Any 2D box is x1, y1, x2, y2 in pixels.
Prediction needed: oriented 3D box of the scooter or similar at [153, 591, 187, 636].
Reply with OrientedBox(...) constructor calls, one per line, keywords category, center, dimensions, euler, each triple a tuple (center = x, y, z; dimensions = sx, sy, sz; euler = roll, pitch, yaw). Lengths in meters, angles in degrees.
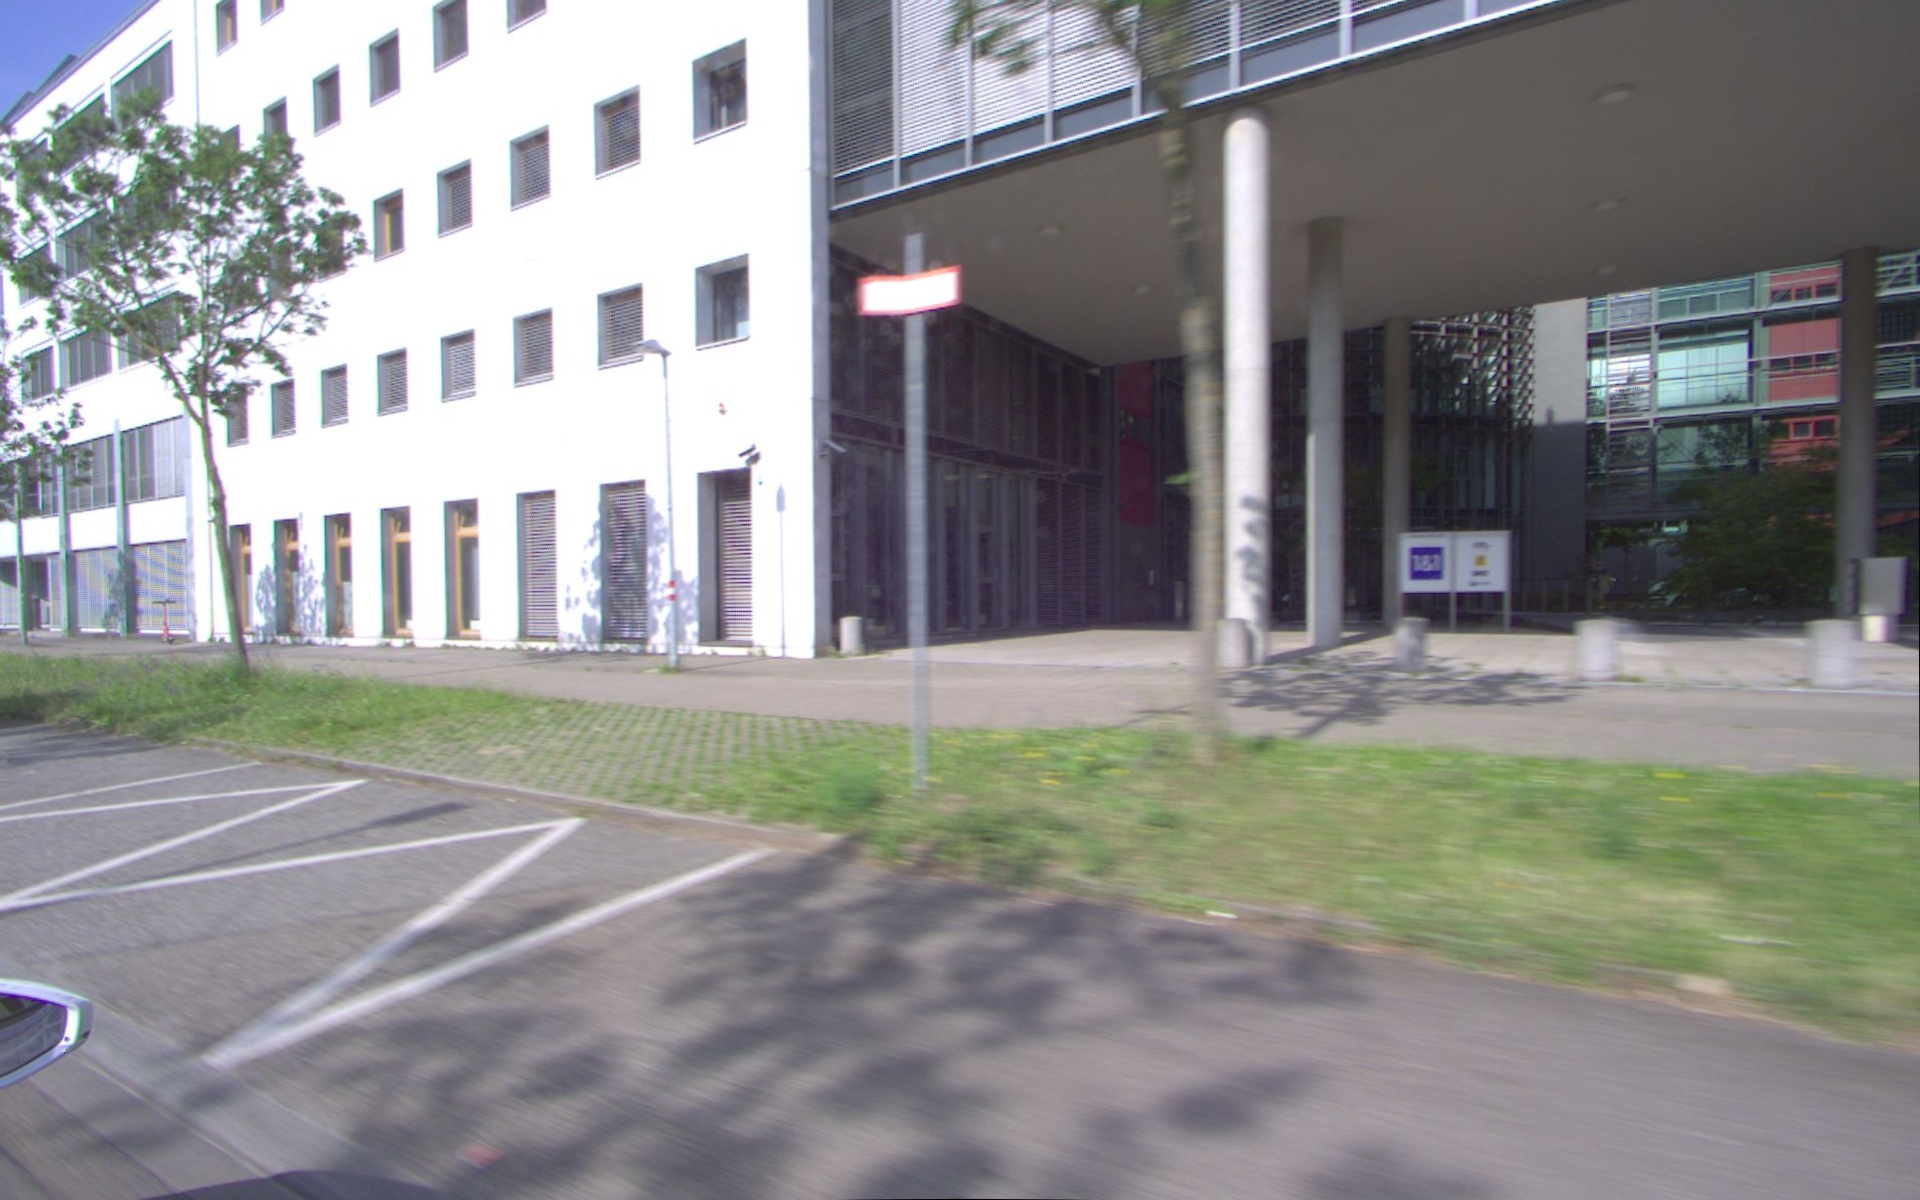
OrientedBox(category="scooter or similar", center=(-22.221, 0.375, 28.153), dimensions=(1.239, 1.230, 0.460), euler=(1, 3, 39))
